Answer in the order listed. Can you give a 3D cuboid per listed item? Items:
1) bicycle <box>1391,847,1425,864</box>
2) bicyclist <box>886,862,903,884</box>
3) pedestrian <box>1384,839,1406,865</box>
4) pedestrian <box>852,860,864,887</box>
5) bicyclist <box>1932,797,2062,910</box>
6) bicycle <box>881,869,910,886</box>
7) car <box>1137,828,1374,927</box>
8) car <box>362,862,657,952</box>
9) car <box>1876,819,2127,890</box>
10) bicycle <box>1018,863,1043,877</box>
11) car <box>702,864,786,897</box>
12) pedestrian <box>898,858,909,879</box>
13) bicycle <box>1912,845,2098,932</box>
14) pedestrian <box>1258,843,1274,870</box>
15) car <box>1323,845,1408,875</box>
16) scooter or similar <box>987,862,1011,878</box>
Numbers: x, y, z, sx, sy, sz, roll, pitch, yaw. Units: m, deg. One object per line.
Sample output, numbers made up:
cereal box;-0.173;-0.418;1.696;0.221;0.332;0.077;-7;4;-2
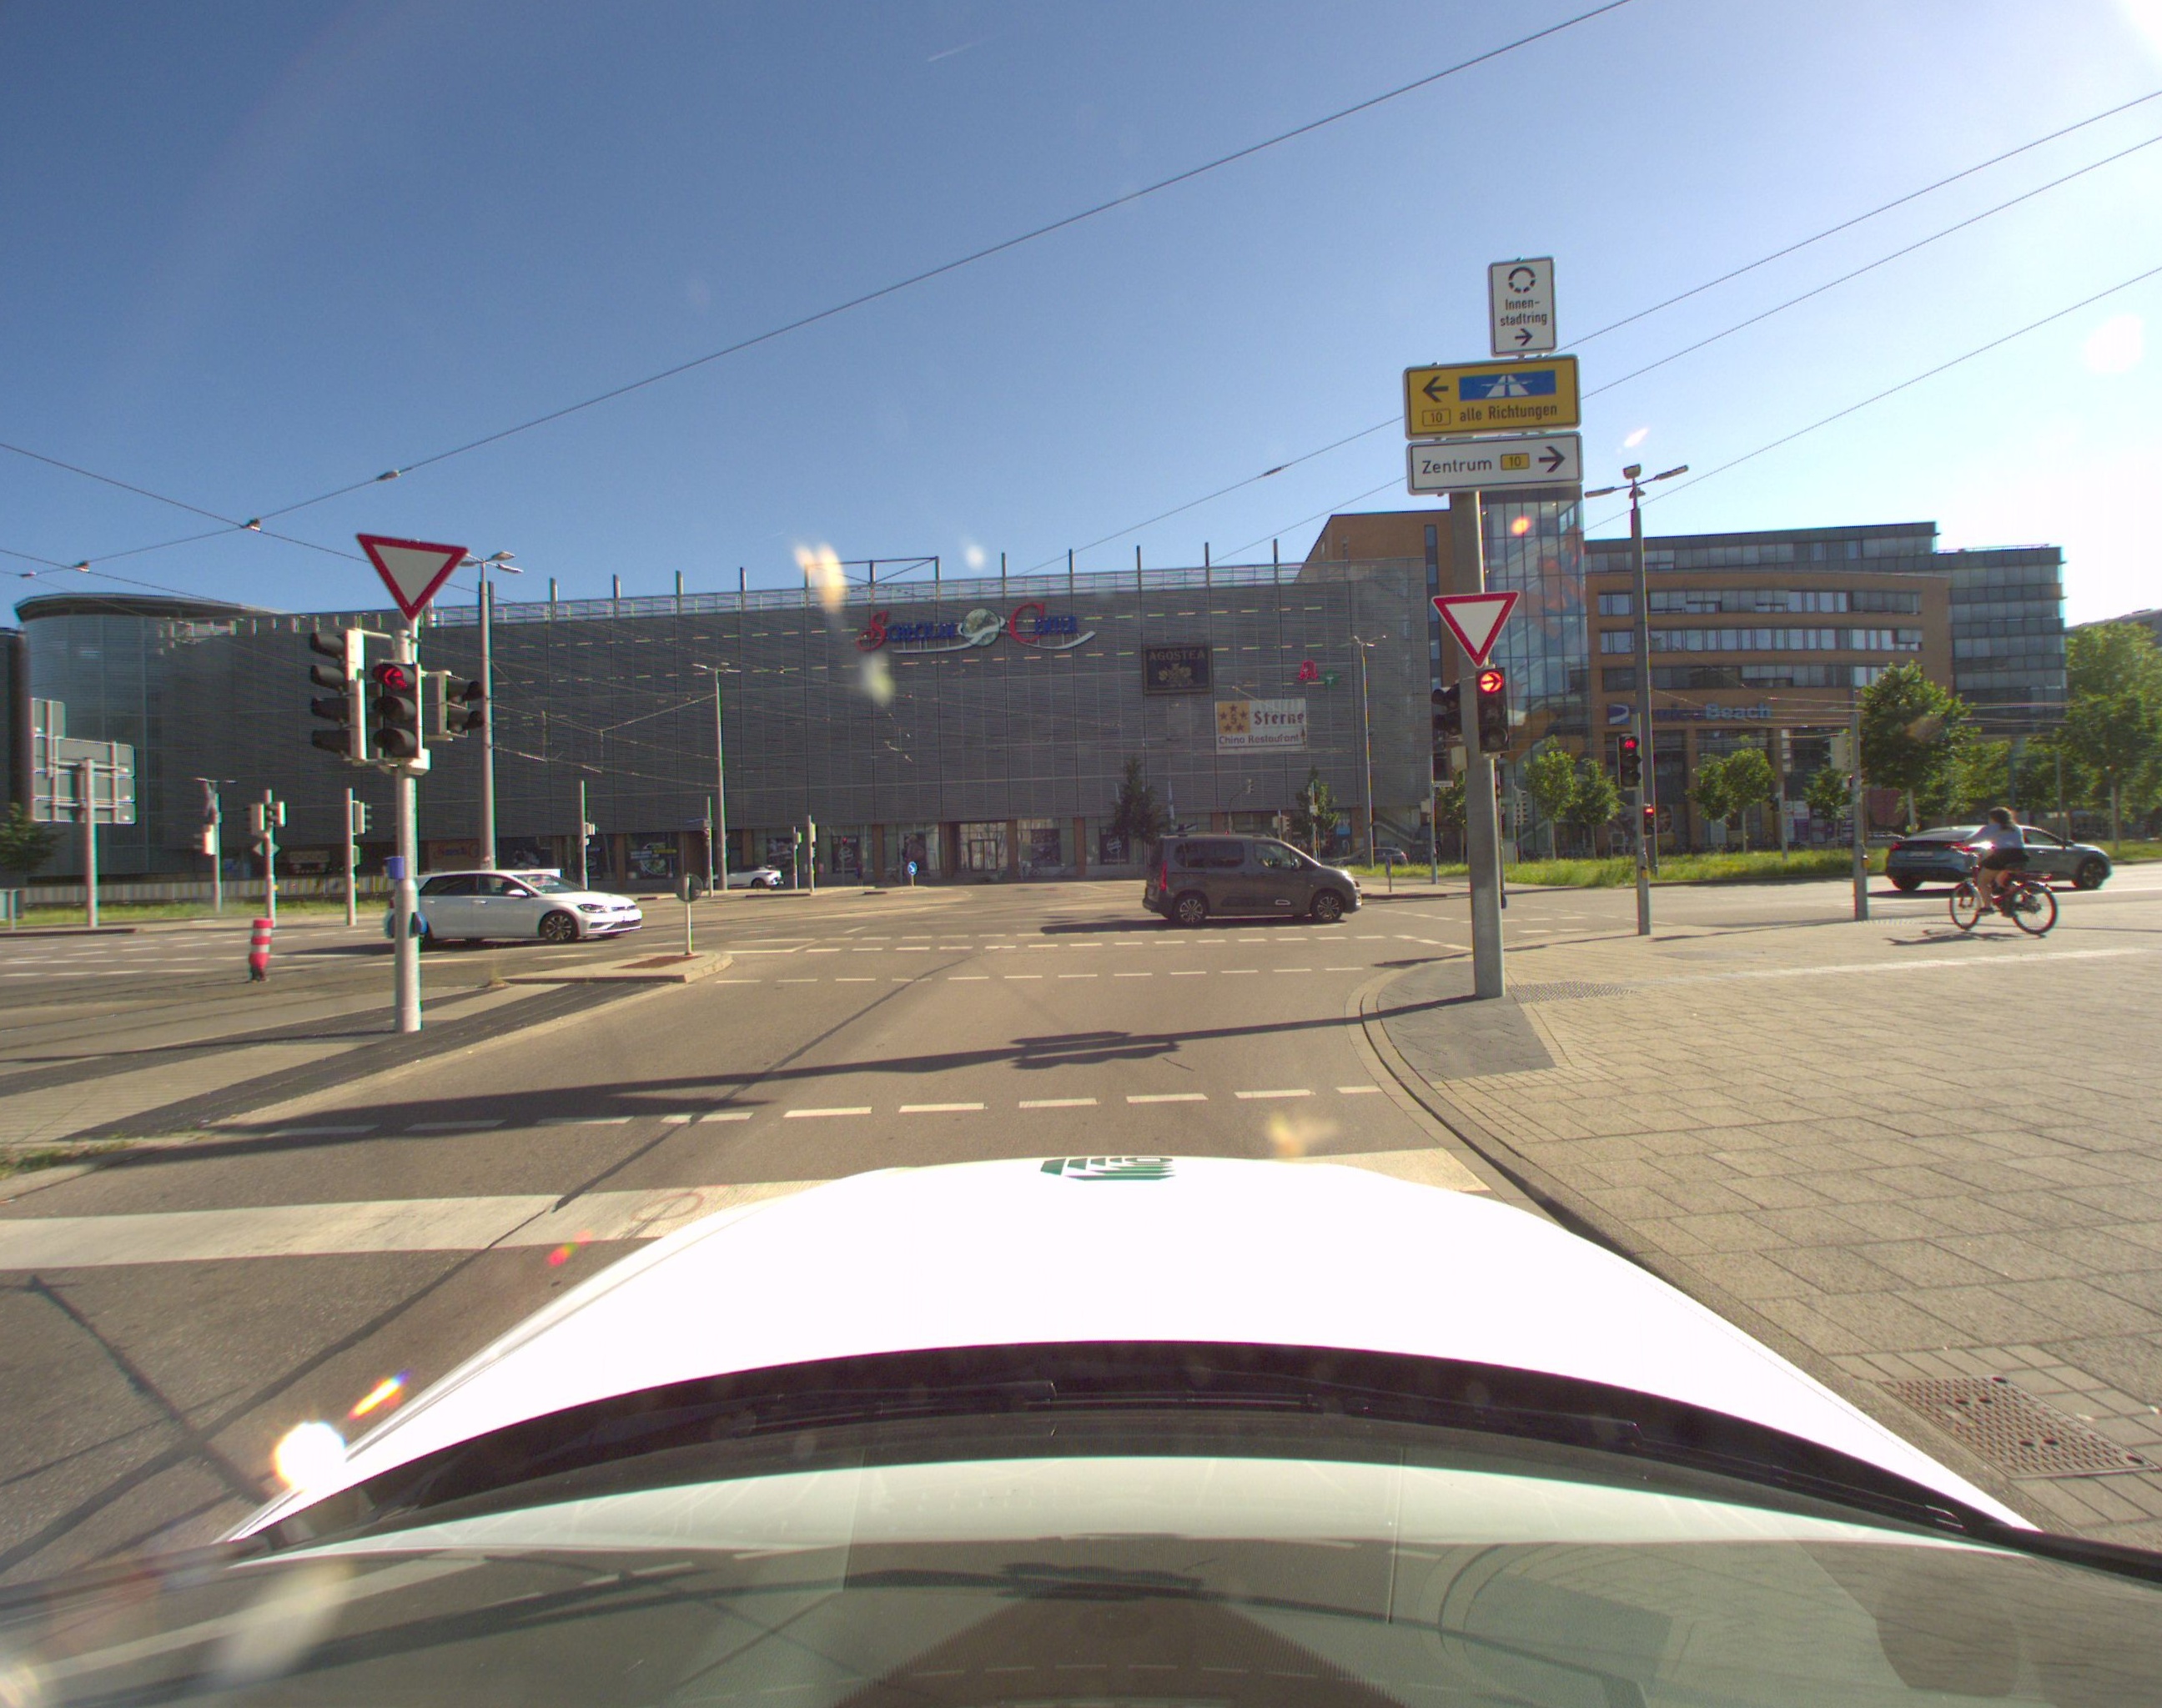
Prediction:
bicycle;24.343;0.108;60.618;2.247;1.296;0.606;0;-1;0
bicyclist;-12.629;1.271;55.237;0.667;1.427;0.855;-1;2;45
pedestrian;22.609;-0.140;58.598;1.012;1.828;1.032;-3;0;-8
pedestrian;-15.203;1.308;55.462;0.695;1.797;0.727;-3;0;-14
bicyclist;12.285;0.007;10.962;0.662;1.436;0.943;-2;-3;11
bicycle;-12.585;1.582;55.310;0.562;1.086;1.874;-1;2;45
car;3.510;0.440;16.762;4.453;1.791;1.705;-2;0;-7
car;-10.848;0.962;15.723;4.271;1.472;1.864;-2;0;-2
car;21.337;0.006;18.962;4.258;1.514;1.706;-1;0;-6
bicycle;-3.781;1.171;60.790;1.815;0.989;0.556;-2;1;-8
car;-20.527;1.592;49.728;4.311;1.863;1.841;-1;-1;1
pedestrian;-13.563;1.121;62.210;0.654;1.601;0.597;-1;-1;20
bicycle;12.298;0.450;10.937;0.662;1.072;1.826;-1;-2;12
pedestrian;13.446;0.201;59.265;0.945;1.829;0.847;-3;-4;7
car;15.883;0.345;45.619;4.132;1.470;1.841;2;-1;0
scooter or similar;-6.184;1.200;61.231;1.790;1.066;0.611;-2;1;-6
